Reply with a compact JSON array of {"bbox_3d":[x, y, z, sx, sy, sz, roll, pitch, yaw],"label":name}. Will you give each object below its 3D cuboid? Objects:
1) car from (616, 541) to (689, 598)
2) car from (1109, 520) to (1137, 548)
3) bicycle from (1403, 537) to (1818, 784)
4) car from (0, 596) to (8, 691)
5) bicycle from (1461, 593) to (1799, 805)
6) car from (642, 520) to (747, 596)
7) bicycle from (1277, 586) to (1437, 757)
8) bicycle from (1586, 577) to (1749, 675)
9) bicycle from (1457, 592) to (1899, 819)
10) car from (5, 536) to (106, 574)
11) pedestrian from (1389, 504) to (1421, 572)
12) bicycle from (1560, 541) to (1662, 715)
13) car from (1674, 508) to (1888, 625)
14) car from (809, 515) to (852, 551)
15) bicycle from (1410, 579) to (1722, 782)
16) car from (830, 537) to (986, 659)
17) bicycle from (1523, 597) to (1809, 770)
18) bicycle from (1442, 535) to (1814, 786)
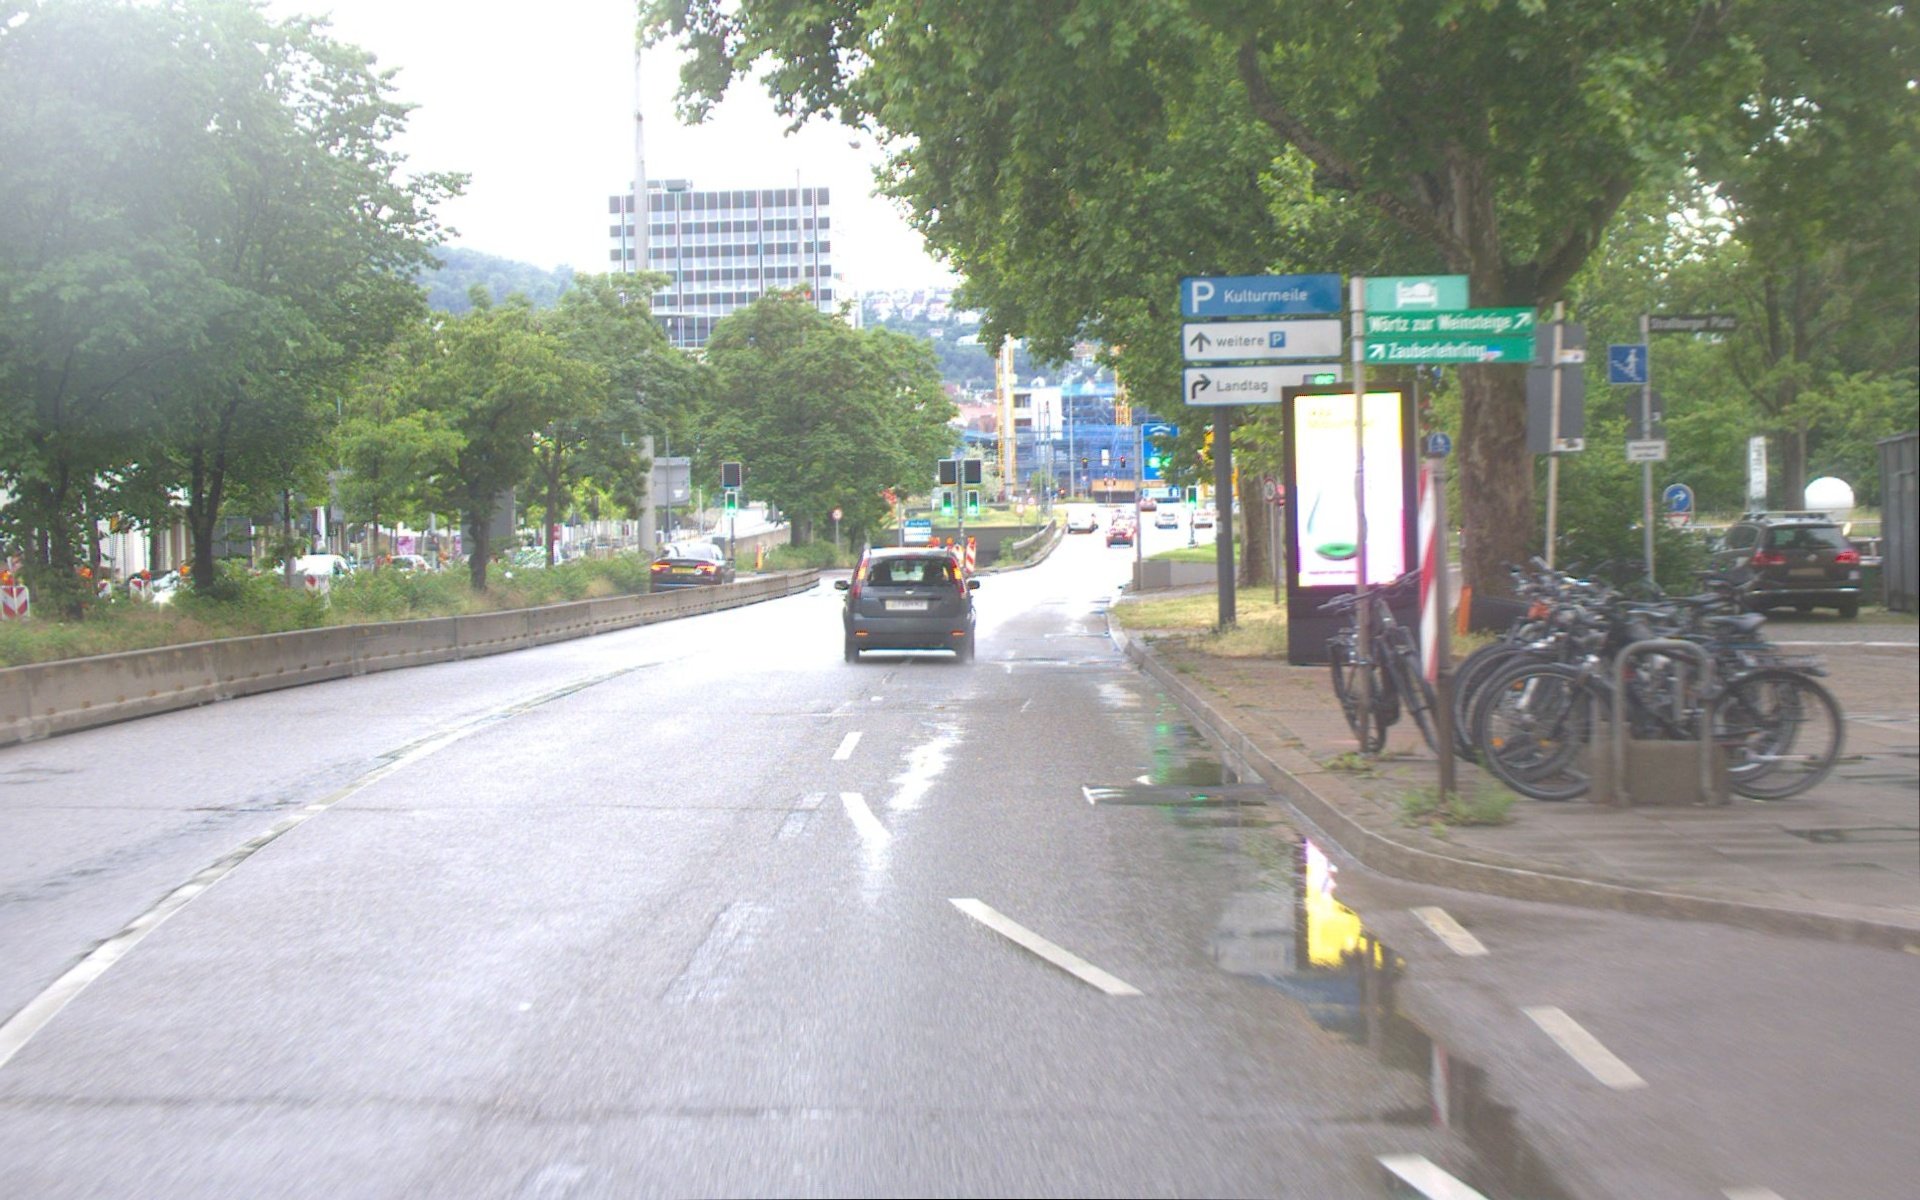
[{"bbox_3d":[-8.078,-0.815,90.536,1.754,1.447,4.001,-1,1,-3],"label":"car"},{"bbox_3d":[11.067,-4.455,233.653,1.739,1.765,3.999,-3,0,4],"label":"car"},{"bbox_3d":[3.607,0.332,19.186,2.191,1.332,0.650,-1,0,3],"label":"bicycle"},{"bbox_3d":[-17.500,0.796,56.648,1.994,1.620,4.808,-3,0,3],"label":"car"},{"bbox_3d":[3.547,0.518,18.287,1.679,1.086,0.650,-1,0,3],"label":"bicycle"},{"bbox_3d":[-6.559,-1.056,85.244,1.994,1.775,4.000,-2,1,4],"label":"car"},{"bbox_3d":[2.395,0.409,20.580,0.669,0.964,1.636,-1,1,17],"label":"bicycle"},{"bbox_3d":[7.573,0.274,36.848,1.641,1.017,0.575,1,0,6],"label":"bicycle"},{"bbox_3d":[3.493,0.503,16.829,1.985,1.056,0.759,-1,0,-2],"label":"bicycle"},{"bbox_3d":[-40.700,-2.025,154.800,3.987,1.590,2.000,-1,1,1],"label":"car"},{"bbox_3d":[11.514,-1.599,88.978,0.705,1.712,0.692,-3,1,3],"label":"pedestrian"},{"bbox_3d":[4.714,0.190,24.982,0.605,1.193,1.904,-3,0,9],"label":"bicycle"},{"bbox_3d":[12.280,-0.549,51.779,1.993,1.604,5.237,-1,2,0],"label":"car"},{"bbox_3d":[-6.096,-3.154,161.923,1.993,1.626,4.000,-1,1,-2],"label":"car"},{"bbox_3d":[3.439,0.453,19.598,1.679,1.118,0.601,-1,1,3],"label":"bicycle"},{"bbox_3d":[-0.688,-0.021,44.035,1.844,1.411,3.839,-3,0,-2],"label":"car"},{"bbox_3d":[4.160,0.489,20.315,1.589,0.991,0.524,-1,1,3],"label":"bicycle"},{"bbox_3d":[3.615,0.323,18.712,1.906,1.328,0.650,-1,0,3],"label":"bicycle"}]
